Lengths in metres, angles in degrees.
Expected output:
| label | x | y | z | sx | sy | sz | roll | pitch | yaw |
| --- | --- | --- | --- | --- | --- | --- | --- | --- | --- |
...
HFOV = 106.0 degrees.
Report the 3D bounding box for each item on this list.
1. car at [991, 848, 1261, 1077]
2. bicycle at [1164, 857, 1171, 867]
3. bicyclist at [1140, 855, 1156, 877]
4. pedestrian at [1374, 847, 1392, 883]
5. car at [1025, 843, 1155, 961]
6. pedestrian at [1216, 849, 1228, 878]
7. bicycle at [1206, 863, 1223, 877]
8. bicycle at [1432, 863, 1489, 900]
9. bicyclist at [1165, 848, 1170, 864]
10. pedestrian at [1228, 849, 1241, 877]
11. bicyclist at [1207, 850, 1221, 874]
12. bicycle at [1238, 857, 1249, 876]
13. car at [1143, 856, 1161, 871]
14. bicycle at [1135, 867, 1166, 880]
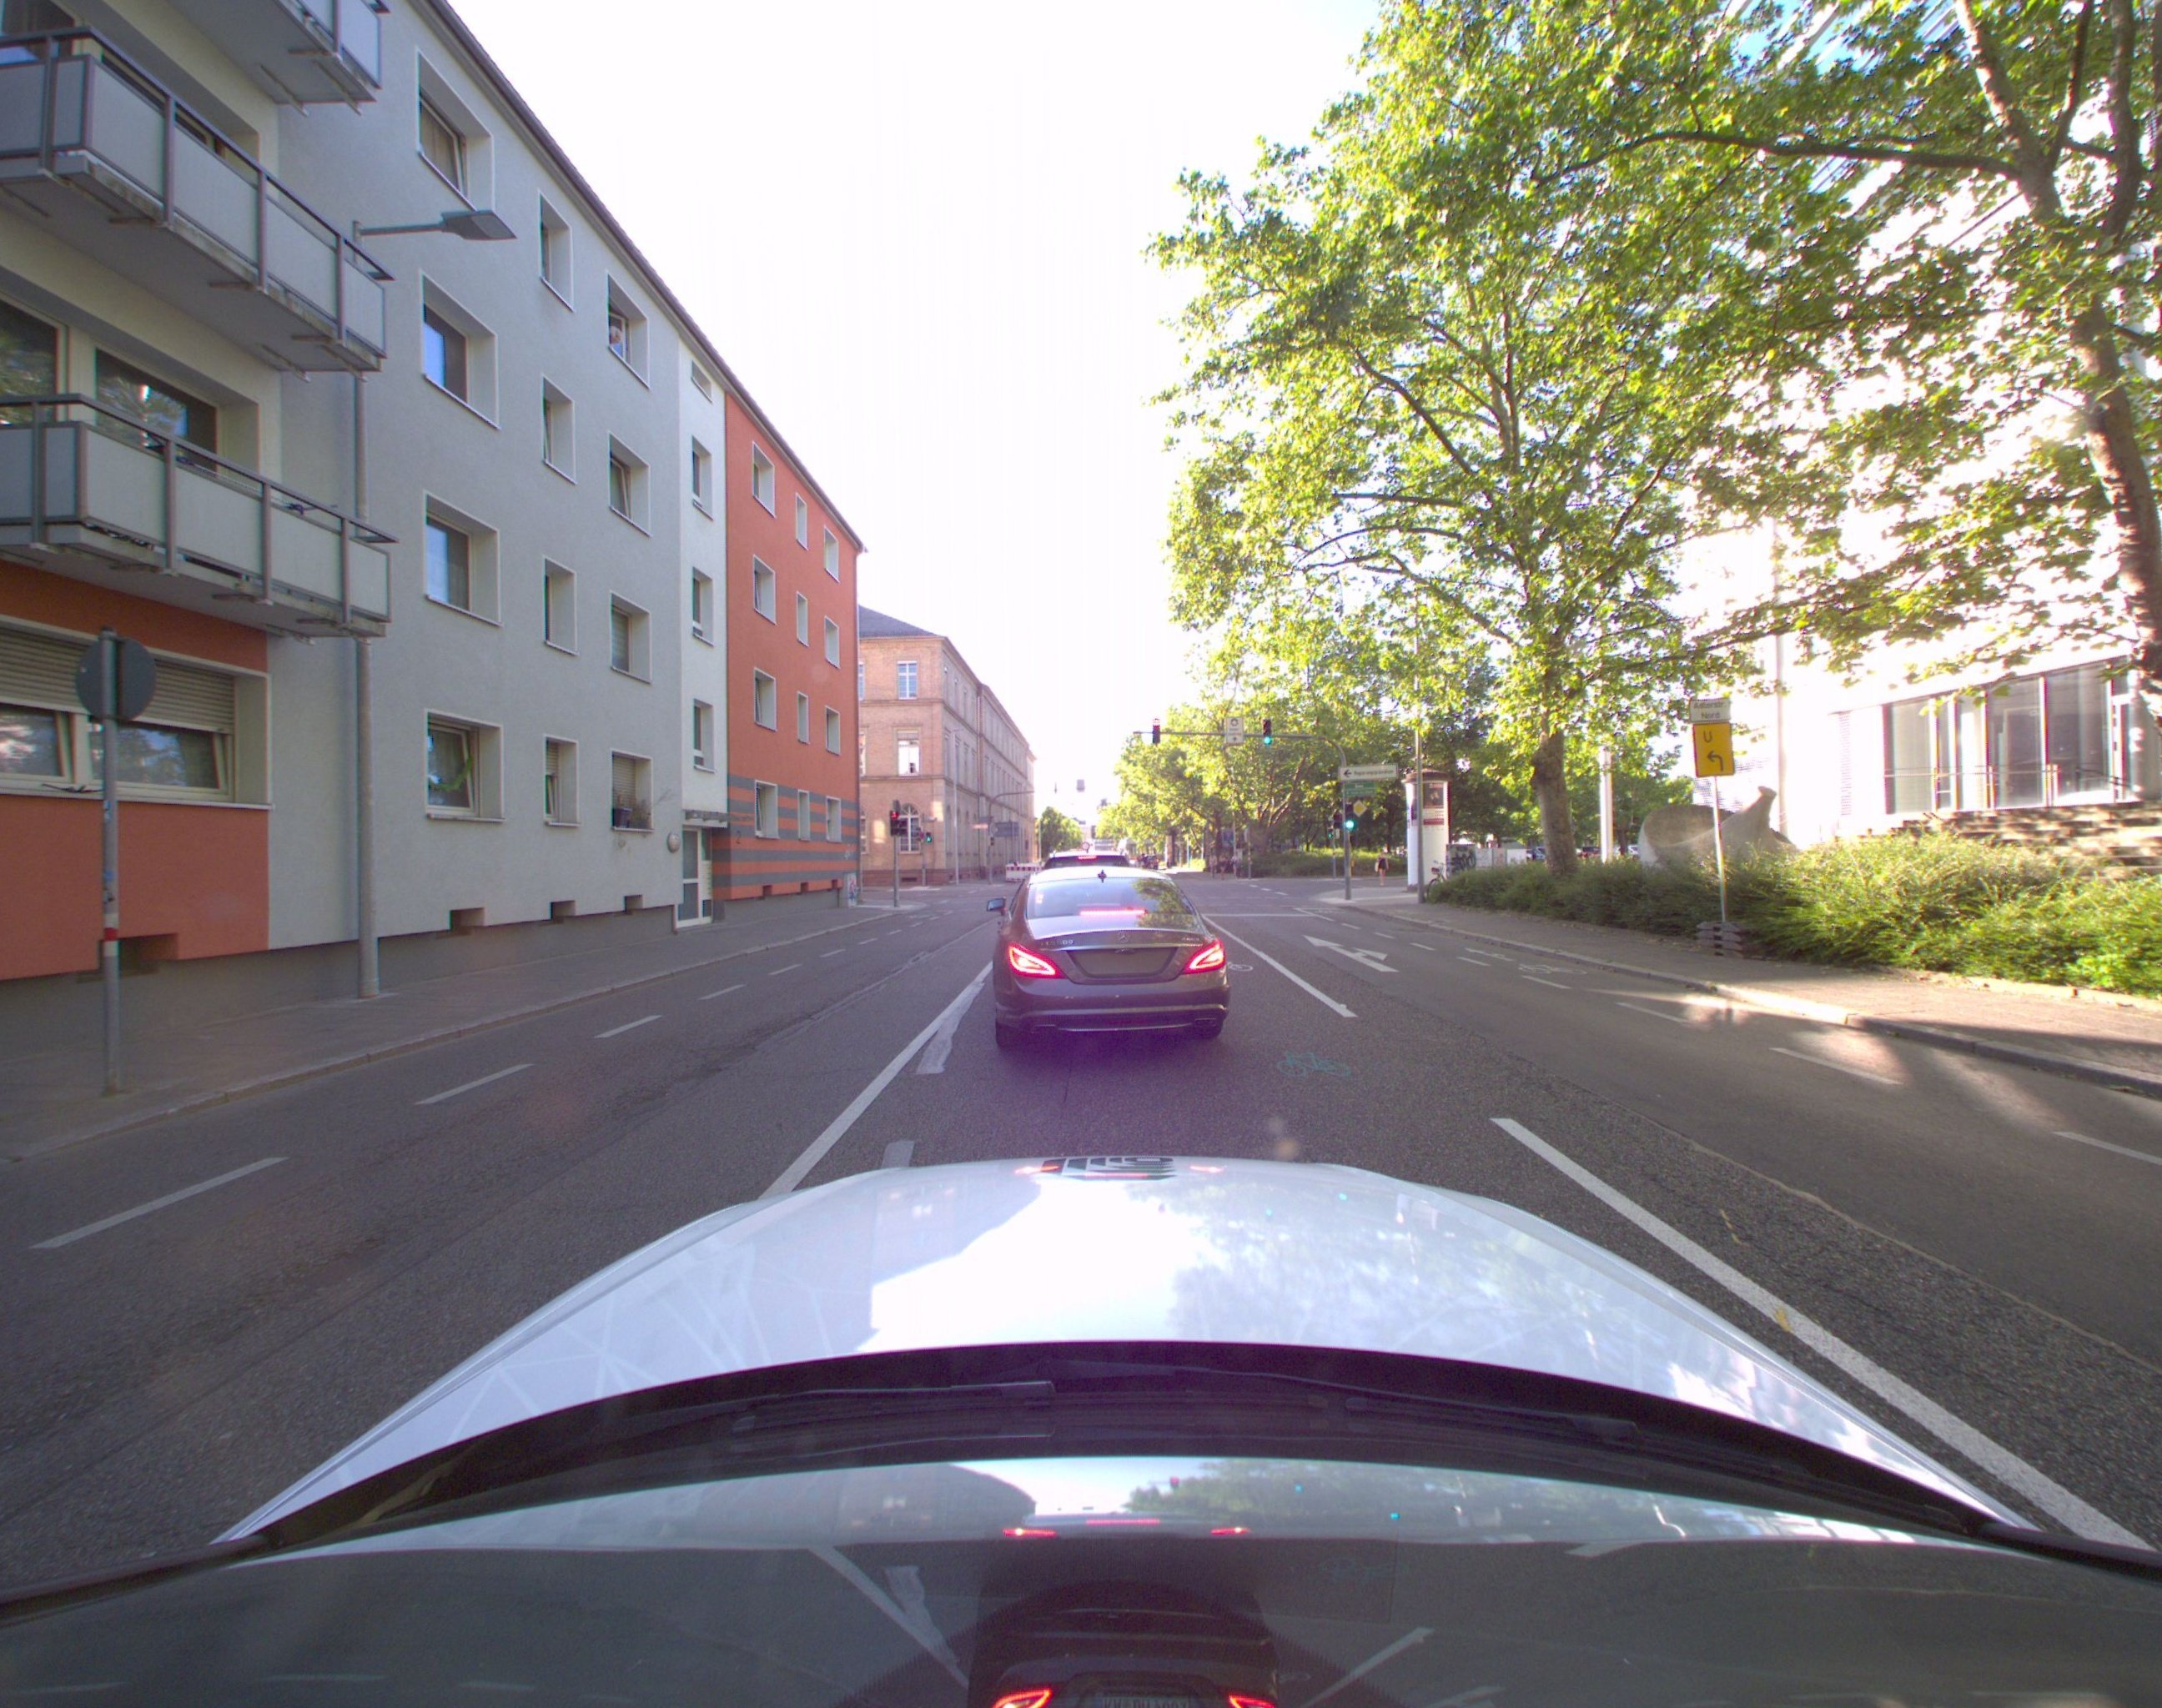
| label | x | y | z | sx | sy | sz | roll | pitch | yaw |
| --- | --- | --- | --- | --- | --- | --- | --- | --- | --- |
| car | 0.141 | 0.736 | 7.582 | 1.859 | 1.519 | 3.992 | -1 | 0 | -6 |
| bicycle | 11.124 | 0.988 | 104.860 | 0.590 | 1.263 | 1.804 | 0 | -1 | -3 |
| bicyclist | 4.268 | 0.752 | 51.860 | 0.701 | 1.398 | 0.728 | 0 | -1 | -36 |
| pedestrian | 13.381 | 0.484 | 36.097 | 0.631 | 1.545 | 0.913 | -1 | -1 | 12 |
| car | 0.189 | 0.695 | 13.716 | 1.854 | 1.682 | 4.002 | -1 | 0 | 2 |
| pedestrian | 9.070 | 0.602 | 52.301 | 0.634 | 1.797 | 0.698 | 0 | -1 | -2 |
| bicycle | 9.284 | 1.075 | 56.549 | 0.825 | 0.924 | 2.618 | 0 | -1 | 2 |
| bicycle | 10.981 | 0.778 | 23.556 | 1.895 | 1.028 | 0.635 | 0 | -1 | -36 |
| bicyclist | 11.112 | 0.304 | 104.857 | 0.593 | 2.039 | 0.566 | 0 | -1 | -2 |
| pedestrian | 9.807 | 0.574 | 52.122 | 0.634 | 1.760 | 0.698 | 0 | -1 | -2 |
| bicyclist | 9.261 | 0.573 | 56.568 | 0.822 | 1.618 | 0.958 | 0 | -1 | 1 |
| bicycle | 10.405 | 0.808 | 52.178 | 0.480 | 1.202 | 1.607 | 0 | -1 | 2 |
| car | 8.523 | 1.147 | 98.088 | 1.854 | 1.764 | 4.483 | -1 | 0 | 2 |
| bicycle | 4.444 | 1.242 | 51.985 | 1.936 | 0.791 | 0.718 | 0 | -1 | -36 |
